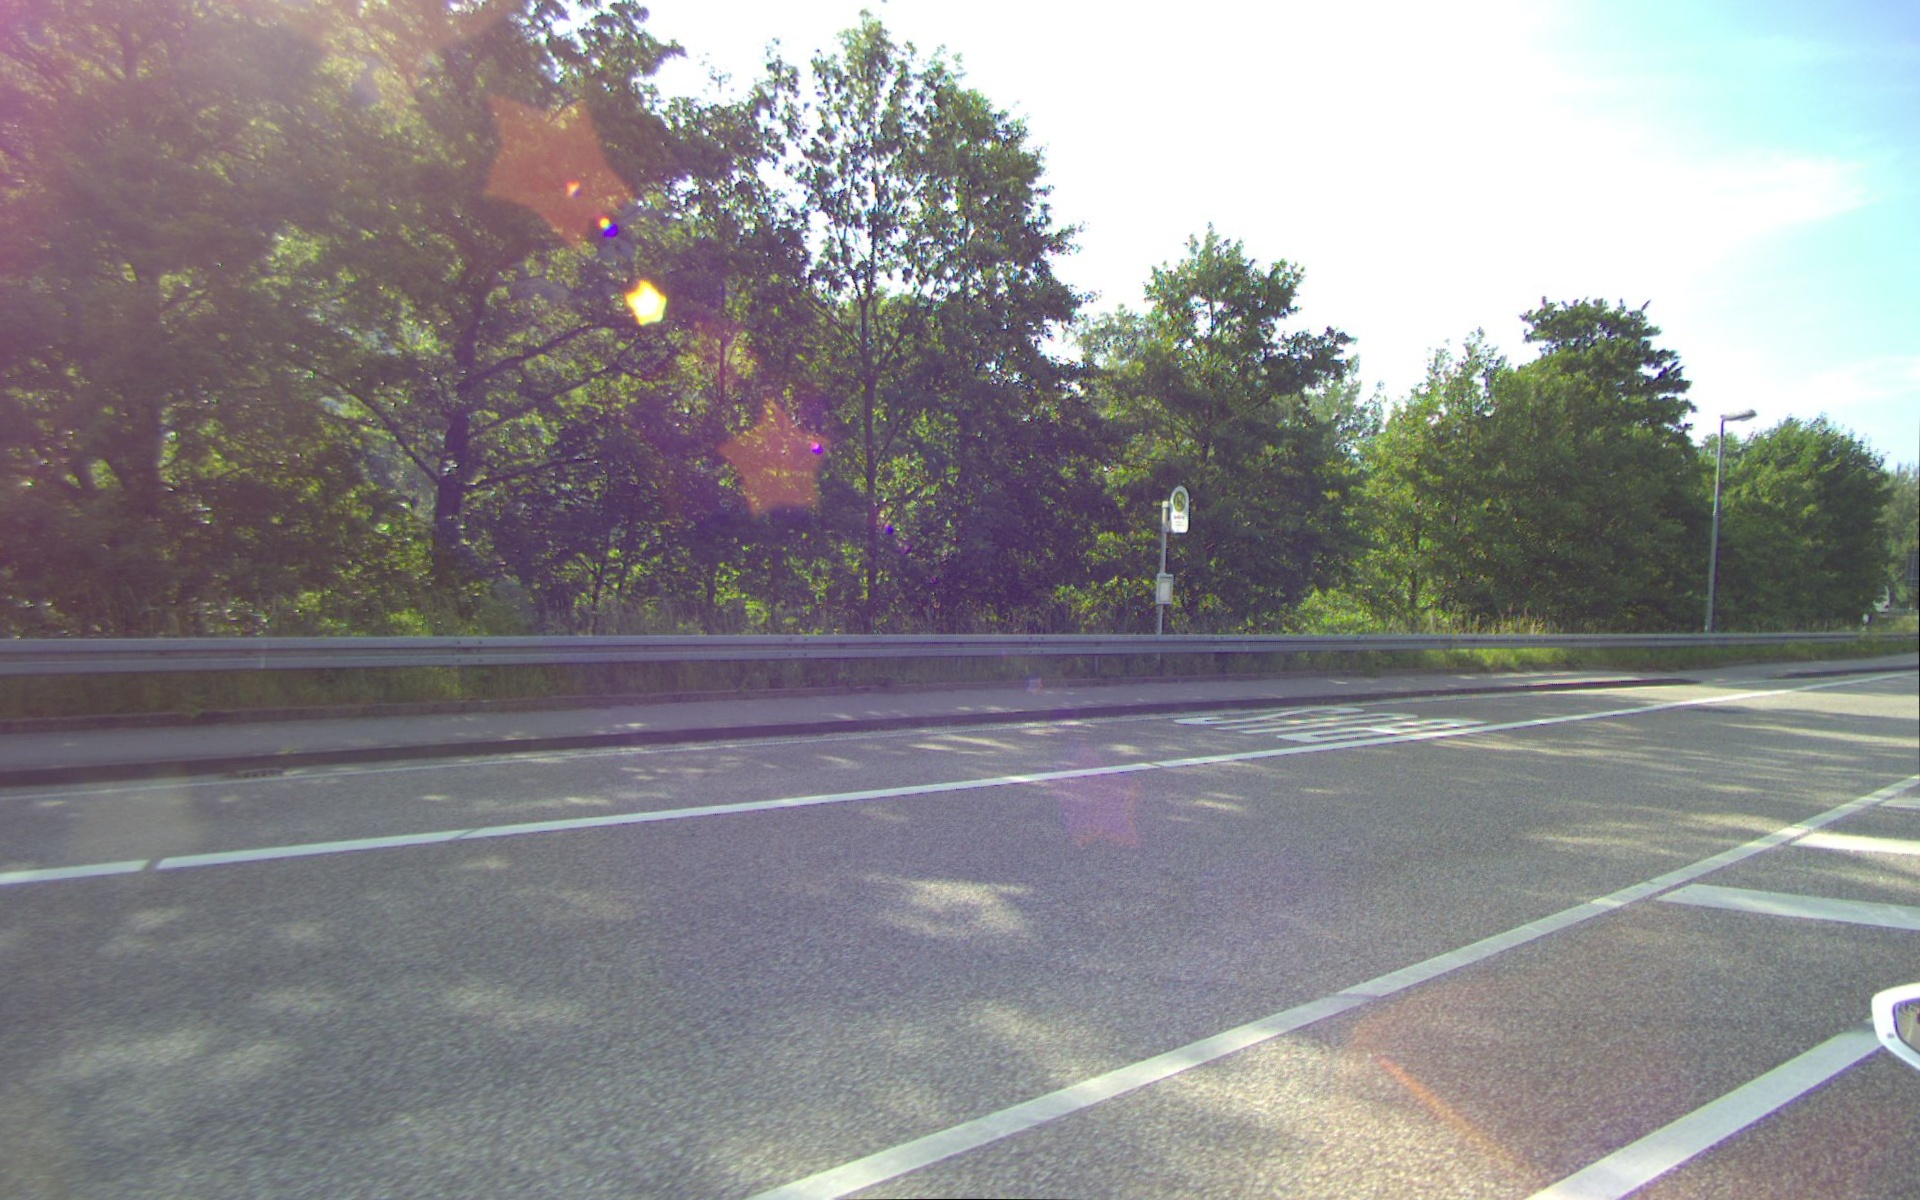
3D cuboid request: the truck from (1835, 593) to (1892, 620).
[{"bbox_3d":[110.930,0.744,123.384,2.666,3.125,6.110,2,1,16],"label":"truck"}]
